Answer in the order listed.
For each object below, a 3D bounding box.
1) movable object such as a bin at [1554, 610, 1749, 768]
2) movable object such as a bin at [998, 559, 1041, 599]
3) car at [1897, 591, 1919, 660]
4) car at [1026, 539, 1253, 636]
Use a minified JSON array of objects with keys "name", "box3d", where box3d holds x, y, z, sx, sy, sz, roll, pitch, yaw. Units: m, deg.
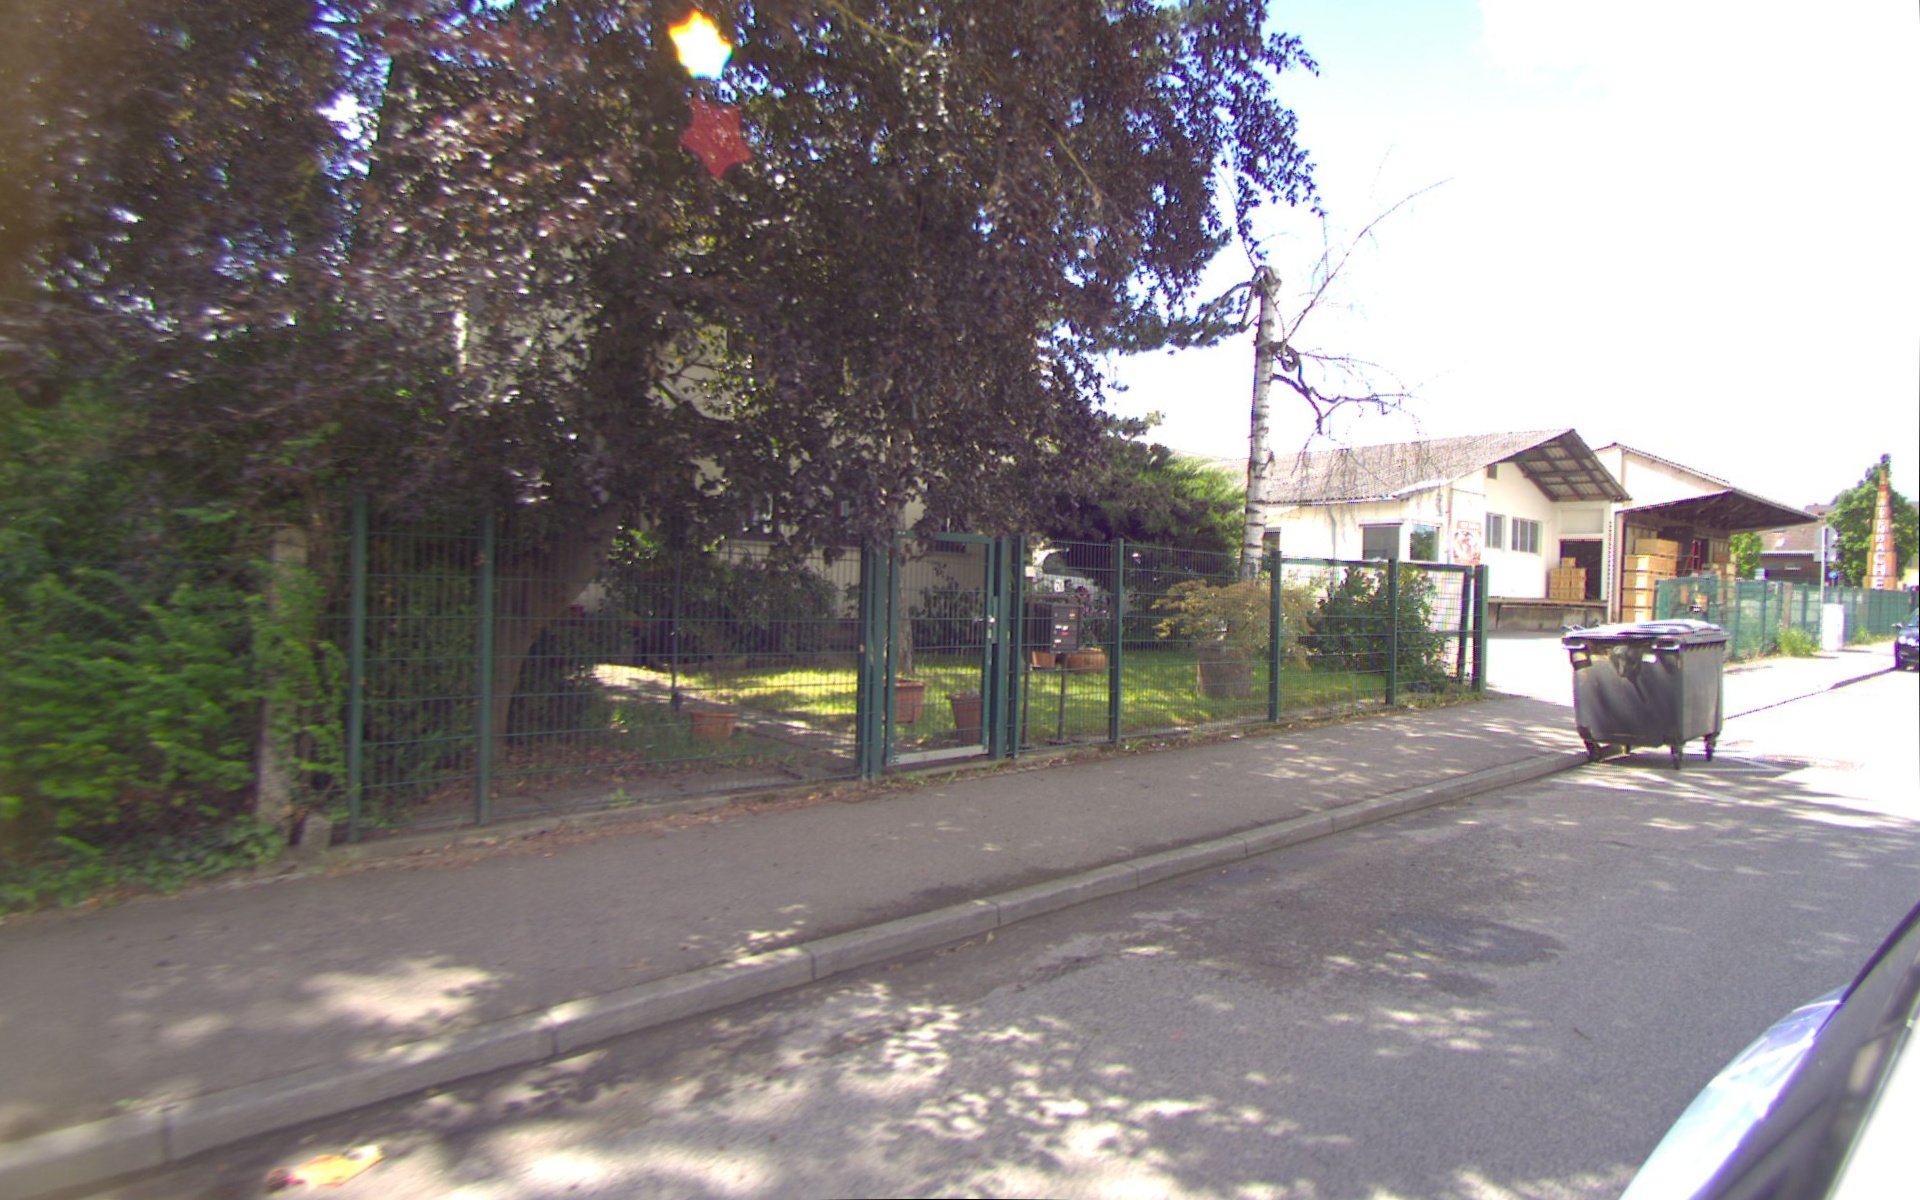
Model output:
[{"name":"movable object such as a bin","box3d":[6.554,0.782,9.607,1.332,1.307,1.117,0,2,-36]},{"name":"movable object such as a bin","box3d":[2.180,-0.765,36.938,1.043,1.364,1.121,0,3,-43]},{"name":"car","box3d":[22.405,0.556,22.602,3.930,1.482,1.758,0,1,-41]},{"name":"car","box3d":[3.827,-0.342,22.449,1.962,1.910,4.927,1,2,-36]}]
